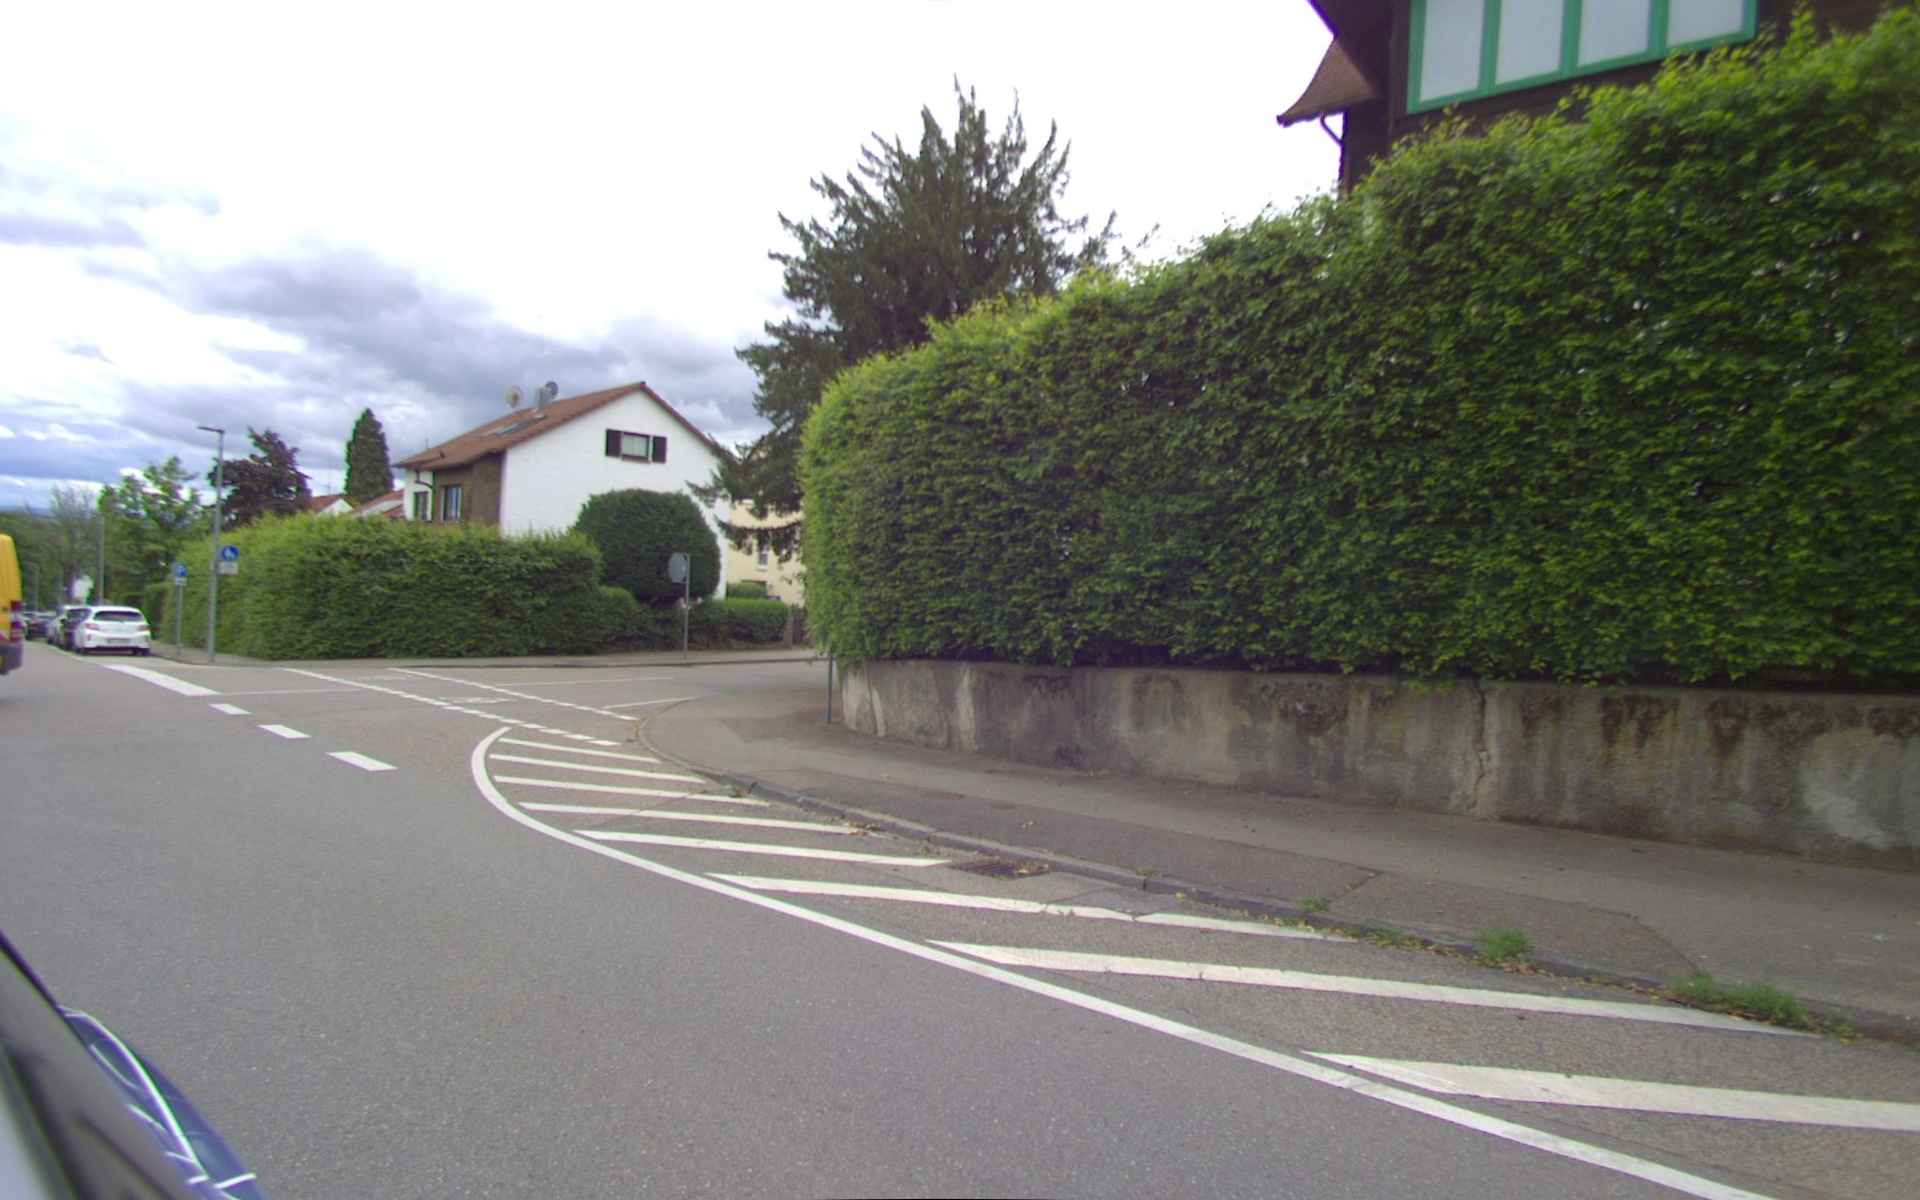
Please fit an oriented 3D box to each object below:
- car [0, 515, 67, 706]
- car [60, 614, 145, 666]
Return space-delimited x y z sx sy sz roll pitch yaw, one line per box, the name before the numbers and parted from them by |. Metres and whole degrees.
car | -15.119 0.050 12.187 2.352 2.621 6.099 0 -2 21
car | -26.255 1.207 30.941 1.670 1.430 3.582 5 -5 -44
